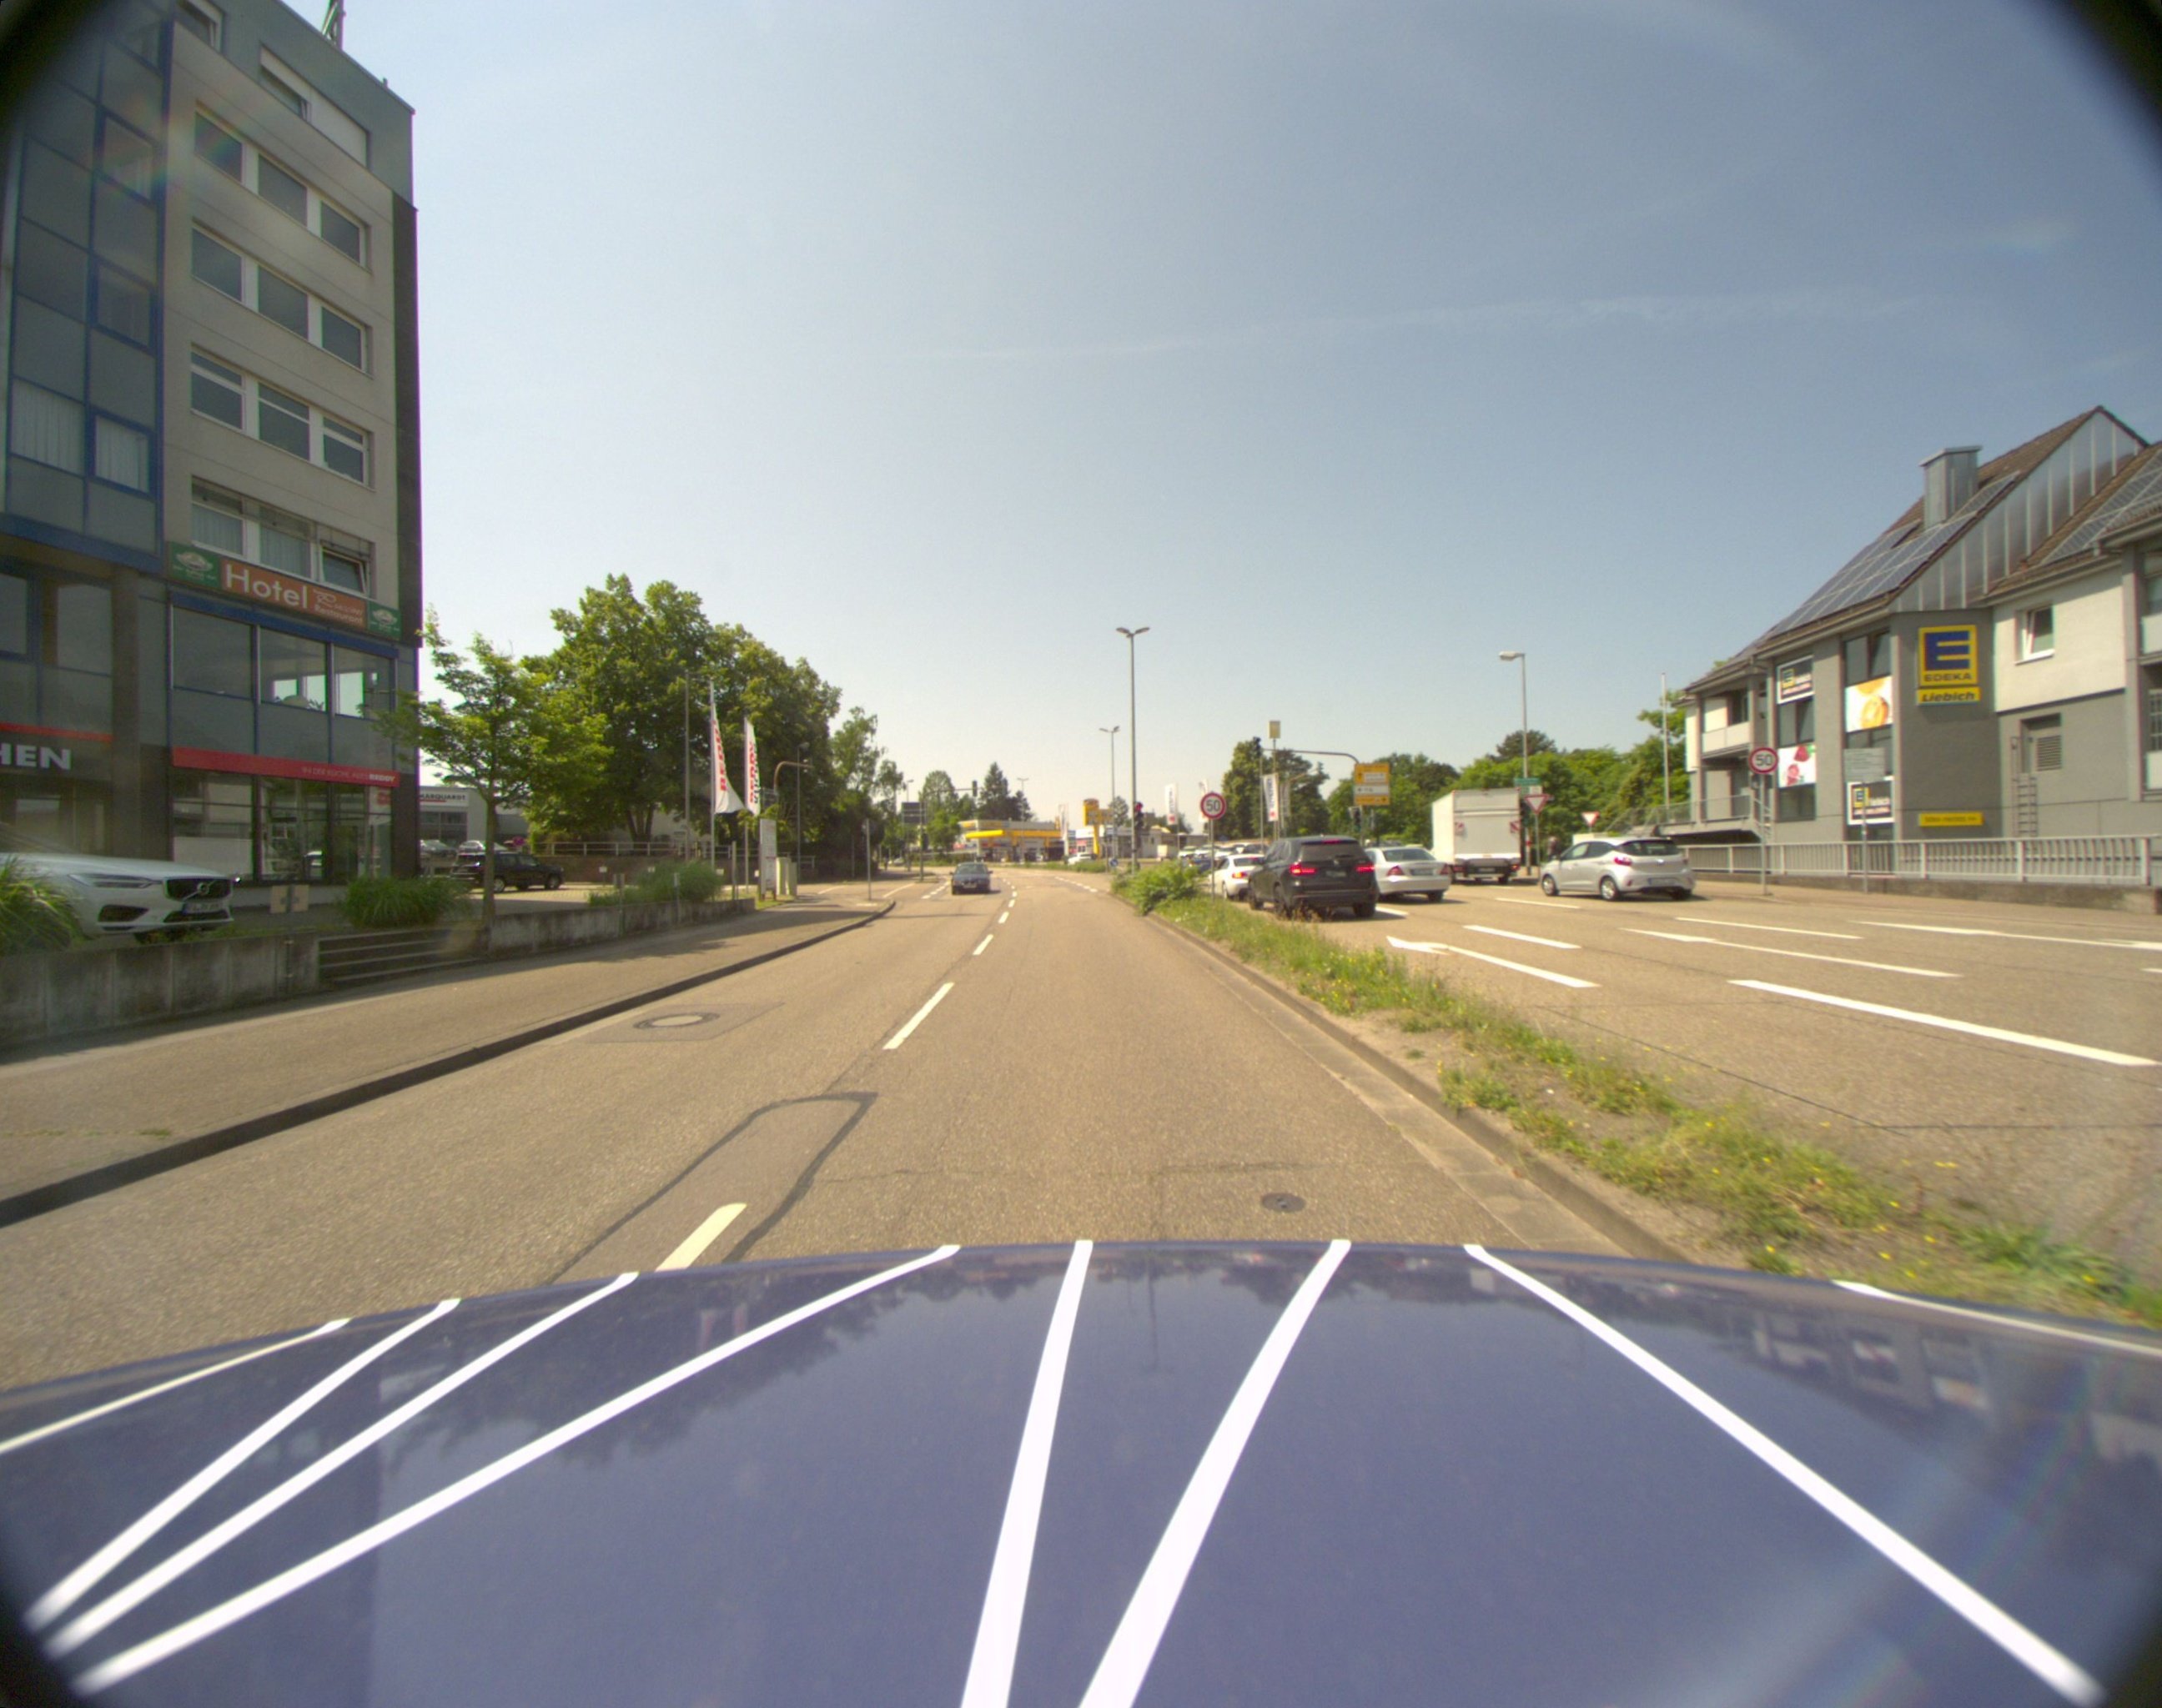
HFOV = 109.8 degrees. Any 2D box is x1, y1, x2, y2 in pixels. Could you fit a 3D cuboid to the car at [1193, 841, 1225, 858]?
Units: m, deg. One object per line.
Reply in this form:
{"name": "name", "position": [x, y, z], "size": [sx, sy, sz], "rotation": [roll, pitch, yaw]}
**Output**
{"name": "car", "position": [12.781, -0.478, 75.726], "size": [1.914, 1.532, 3.969], "rotation": [-2, 1, 29]}

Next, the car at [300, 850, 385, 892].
{"name": "car", "position": [-30.257, 0.655, 31.248], "size": [1.546, 1.524, 4.215], "rotation": [-4, 2, -32]}

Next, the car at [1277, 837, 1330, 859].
{"name": "car", "position": [19.830, -0.506, 67.768], "size": [4.298, 1.891, 1.832], "rotation": [0, 2, 26]}

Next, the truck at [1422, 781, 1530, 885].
{"name": "truck", "position": [14.746, -0.696, 28.871], "size": [2.267, 3.397, 7.048], "rotation": [-2, 0, 17]}

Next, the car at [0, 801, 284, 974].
{"name": "car", "position": [-12.361, 0.405, 8.189], "size": [4.743, 1.704, 1.997], "rotation": [-3, 1, -18]}

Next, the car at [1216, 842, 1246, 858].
{"name": "car", "position": [14.528, -0.408, 73.380], "size": [1.711, 1.424, 3.969], "rotation": [0, 2, 28]}

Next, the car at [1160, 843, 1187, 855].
{"name": "car", "position": [12.166, -0.699, 100.352], "size": [1.697, 1.497, 3.623], "rotation": [-2, 1, -29]}

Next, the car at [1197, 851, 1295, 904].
{"name": "car", "position": [4.994, 0.647, 23.678], "size": [1.868, 1.422, 4.743], "rotation": [-2, 0, -2]}

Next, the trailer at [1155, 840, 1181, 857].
{"name": "trailer", "position": [9.339, -0.565, 81.471], "size": [1.689, 1.694, 2.439], "rotation": [-1, 1, 37]}

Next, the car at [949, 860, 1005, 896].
{"name": "car", "position": [-4.605, 1.038, 34.126], "size": [1.697, 1.365, 4.000], "rotation": [-1, 1, 3]}

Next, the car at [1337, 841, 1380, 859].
{"name": "car", "position": [24.543, -0.372, 67.251], "size": [1.796, 1.528, 3.996], "rotation": [-3, 1, -10]}

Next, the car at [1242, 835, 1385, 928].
{"name": "car", "position": [5.024, 0.484, 17.183], "size": [1.913, 1.741, 4.759], "rotation": [-2, 1, 2]}

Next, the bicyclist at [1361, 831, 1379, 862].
{"name": "bicyclist", "position": [15.569, -0.419, 40.915], "size": [0.422, 1.633, 0.820], "rotation": [-3, 0, -15]}

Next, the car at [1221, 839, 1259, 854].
{"name": "car", "position": [19.230, -0.922, 91.960], "size": [1.697, 1.640, 4.746], "rotation": [-2, 1, -31]}

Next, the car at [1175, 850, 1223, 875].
{"name": "car", "position": [6.868, 0.470, 44.606], "size": [1.868, 1.358, 4.345], "rotation": [-1, 0, -4]}

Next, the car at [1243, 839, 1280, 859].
{"name": "car", "position": [16.751, -0.519, 70.818], "size": [1.846, 1.714, 4.009], "rotation": [-2, 2, -11]}

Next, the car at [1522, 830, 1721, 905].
{"name": "car", "position": [12.872, 0.274, 18.489], "size": [1.902, 1.557, 4.197], "rotation": [-2, 1, 1]}

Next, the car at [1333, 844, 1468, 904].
{"name": "car", "position": [8.318, 0.453, 20.230], "size": [1.902, 1.353, 4.197], "rotation": [-2, 1, 1]}

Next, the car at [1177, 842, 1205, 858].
{"name": "car", "position": [11.309, -0.413, 77.988], "size": [1.754, 1.501, 3.825], "rotation": [-2, 1, 25]}

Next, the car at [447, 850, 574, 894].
{"name": "car", "position": [-23.694, 0.682, 31.785], "size": [1.541, 1.666, 4.332], "rotation": [-1, 1, 10]}

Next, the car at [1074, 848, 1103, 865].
{"name": "car", "position": [0.732, 0.240, 75.305], "size": [1.823, 1.561, 4.550], "rotation": [-3, 1, -13]}

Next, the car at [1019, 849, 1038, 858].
{"name": "car", "position": [-9.474, -0.021, 136.870], "size": [1.659, 1.534, 4.203], "rotation": [-3, 1, -30]}
